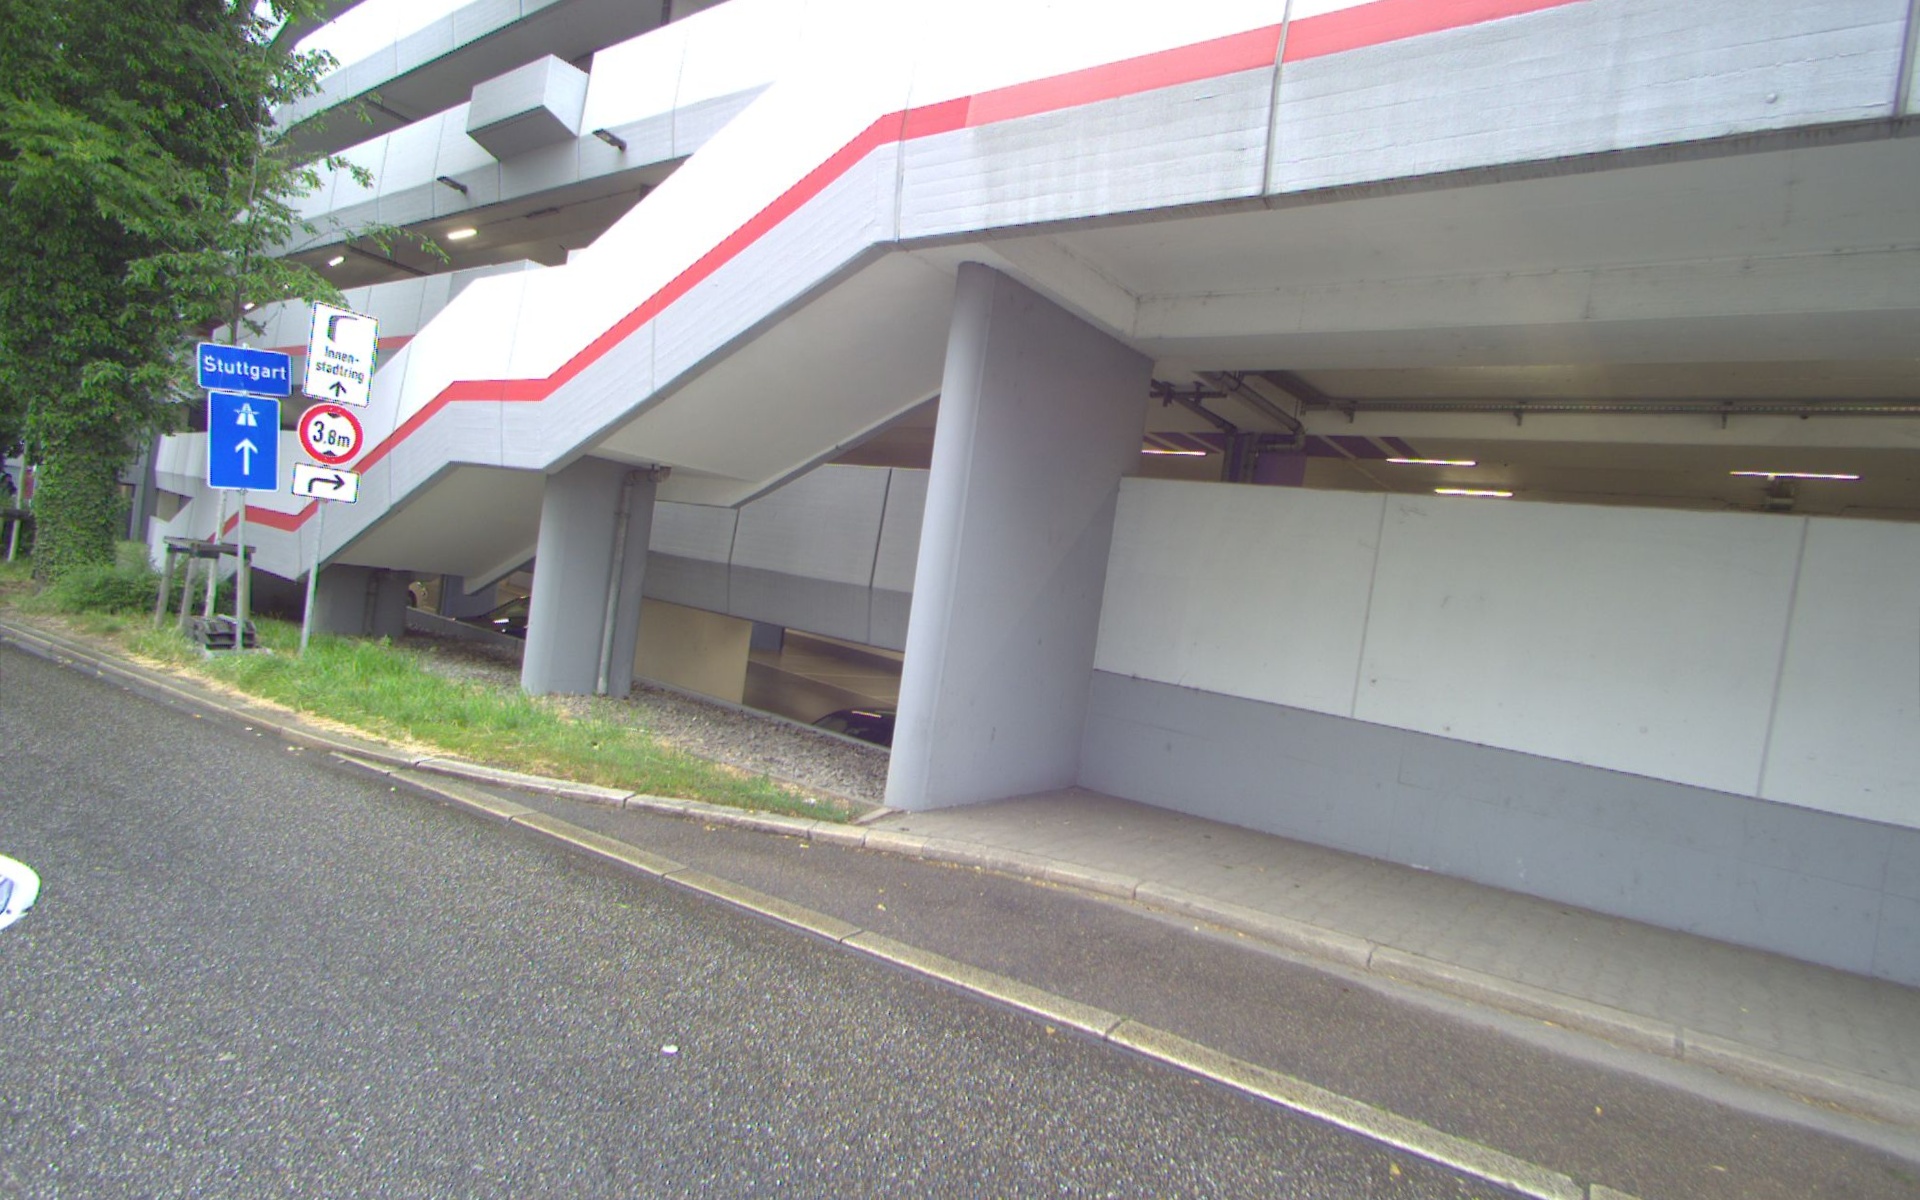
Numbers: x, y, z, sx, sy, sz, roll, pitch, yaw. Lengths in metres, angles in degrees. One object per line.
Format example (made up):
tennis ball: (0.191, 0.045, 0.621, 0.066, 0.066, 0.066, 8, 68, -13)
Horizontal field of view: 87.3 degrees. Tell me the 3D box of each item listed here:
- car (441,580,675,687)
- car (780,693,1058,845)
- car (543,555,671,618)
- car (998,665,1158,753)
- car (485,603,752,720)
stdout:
car: (-7.753, 0.707, 19.674, 1.782, 1.559, 3.734, 11, 2, 37)
car: (-0.458, 2.353, 14.729, 1.810, 1.559, 3.931, 11, 2, 37)
car: (-13.013, -0.467, 37.251, 1.792, 1.804, 3.979, 7, 0, 44)
car: (2.865, 2.567, 23.746, 1.810, 1.559, 3.988, 11, 2, 37)
car: (-5.846, 1.130, 17.630, 1.810, 1.643, 3.988, 7, -1, 36)
